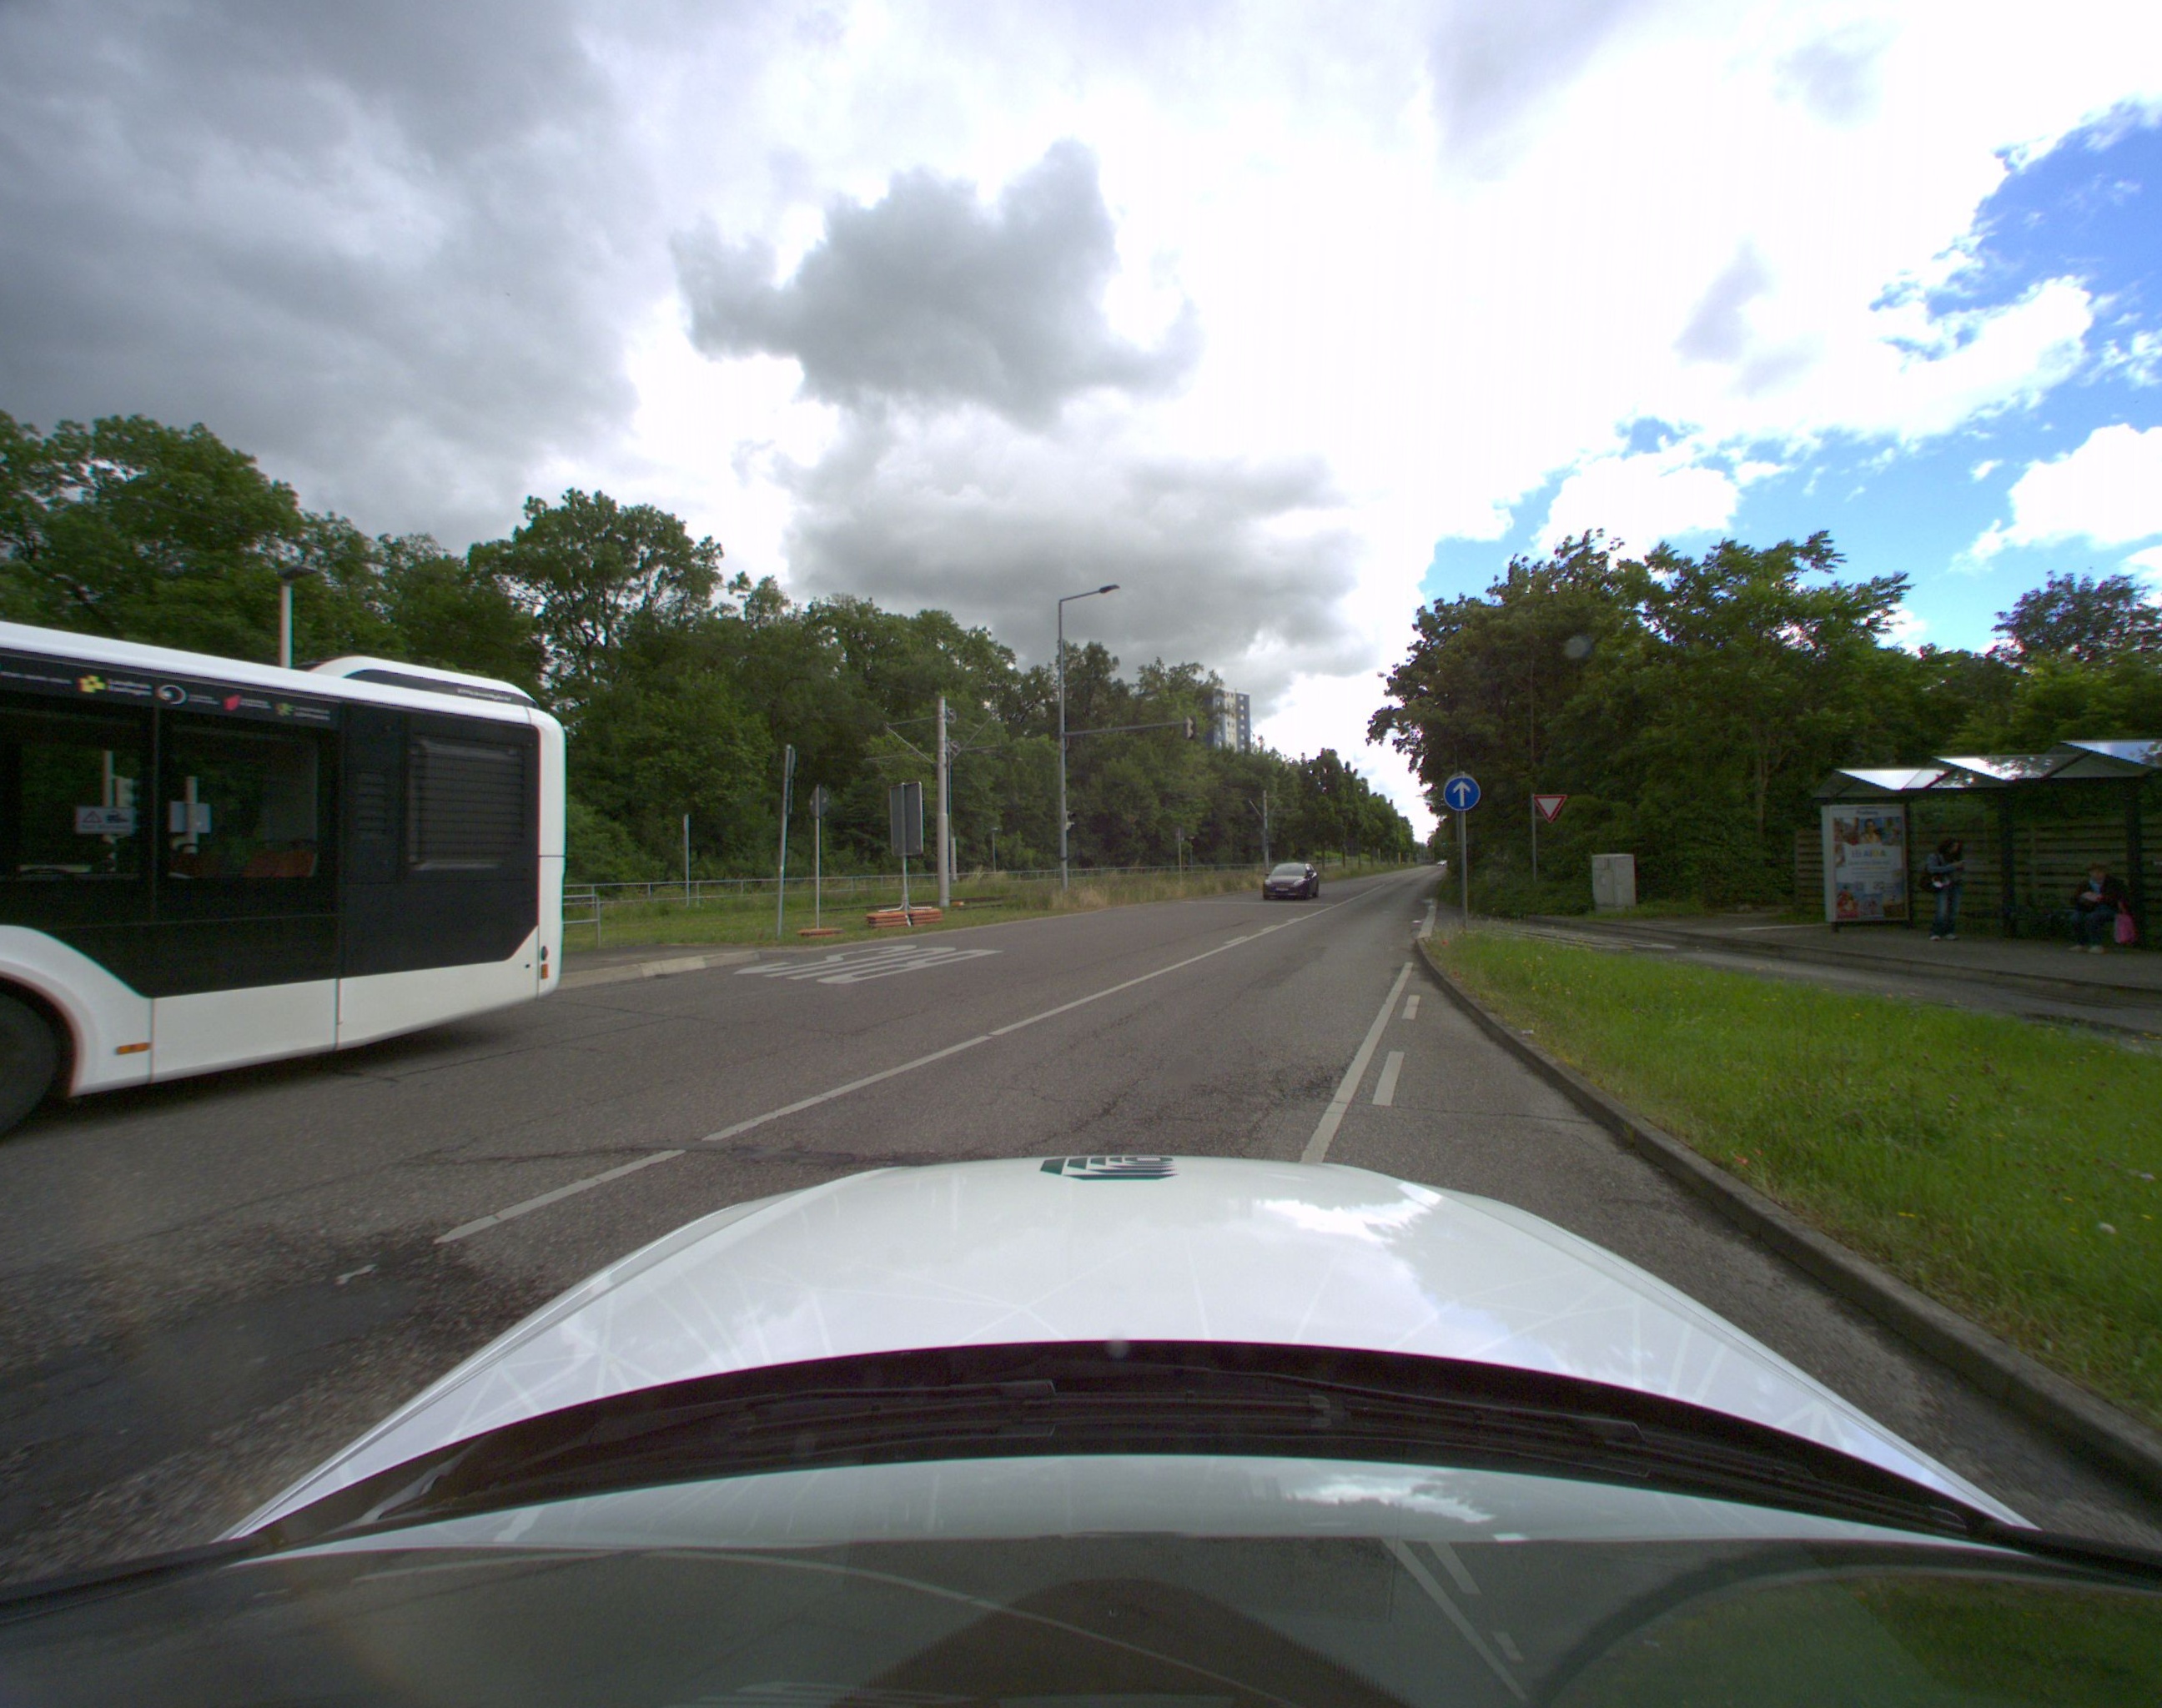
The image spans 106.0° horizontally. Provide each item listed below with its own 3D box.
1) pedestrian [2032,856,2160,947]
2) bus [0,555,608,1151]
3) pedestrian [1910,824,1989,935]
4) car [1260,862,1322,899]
[{"bbox_3d":[13.690,0.620,11.006,0.746,1.170,0.770,-1,-1,-4],"label":"pedestrian"},{"bbox_3d":[-8.158,-0.001,2.464,2.642,3.203,12.269,-2,-1,25],"label":"bus"},{"bbox_3d":[13.460,0.390,12.641,0.678,1.650,0.776,-2,-2,38],"label":"pedestrian"},{"bbox_3d":[8.791,1.074,33.869,1.739,1.434,4.453,-1,-1,24],"label":"car"}]
